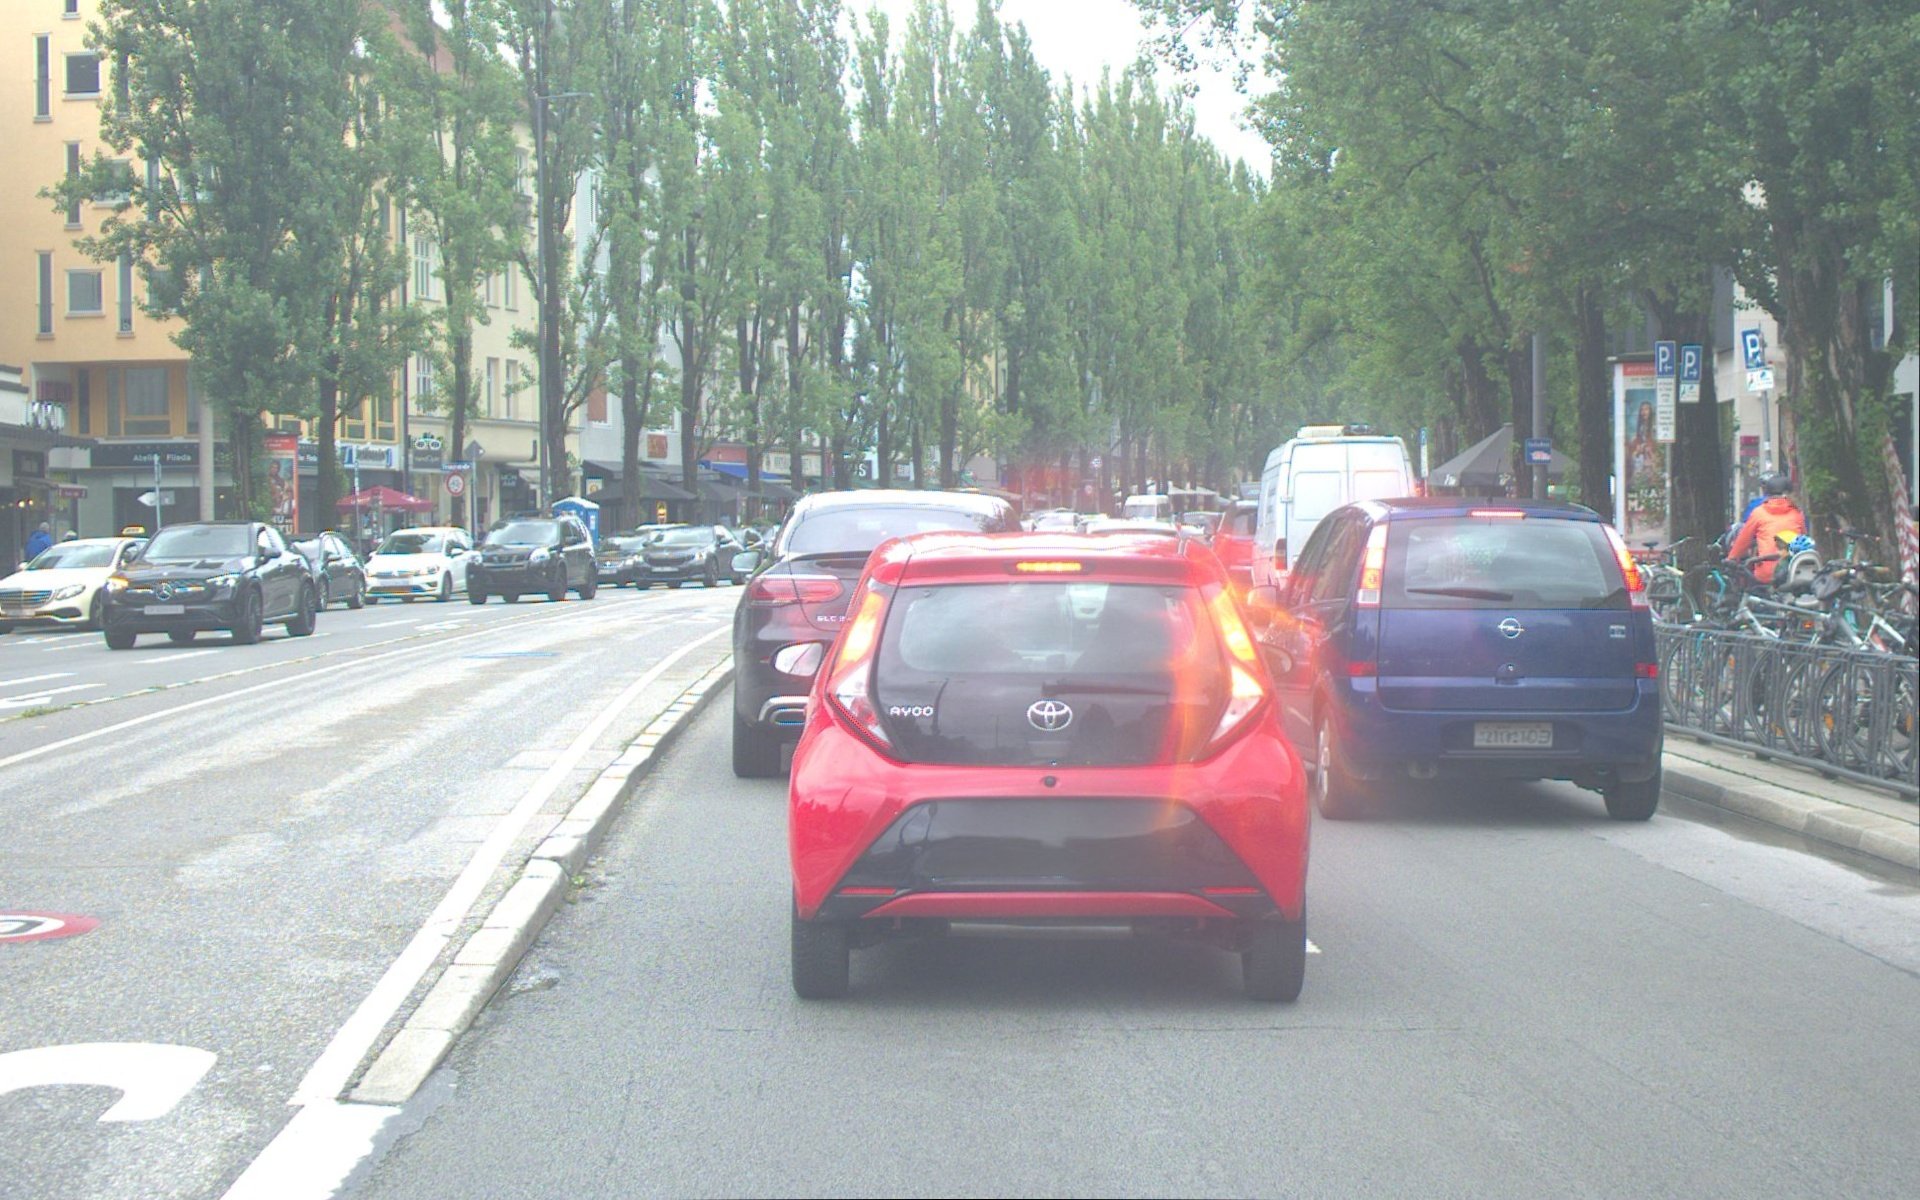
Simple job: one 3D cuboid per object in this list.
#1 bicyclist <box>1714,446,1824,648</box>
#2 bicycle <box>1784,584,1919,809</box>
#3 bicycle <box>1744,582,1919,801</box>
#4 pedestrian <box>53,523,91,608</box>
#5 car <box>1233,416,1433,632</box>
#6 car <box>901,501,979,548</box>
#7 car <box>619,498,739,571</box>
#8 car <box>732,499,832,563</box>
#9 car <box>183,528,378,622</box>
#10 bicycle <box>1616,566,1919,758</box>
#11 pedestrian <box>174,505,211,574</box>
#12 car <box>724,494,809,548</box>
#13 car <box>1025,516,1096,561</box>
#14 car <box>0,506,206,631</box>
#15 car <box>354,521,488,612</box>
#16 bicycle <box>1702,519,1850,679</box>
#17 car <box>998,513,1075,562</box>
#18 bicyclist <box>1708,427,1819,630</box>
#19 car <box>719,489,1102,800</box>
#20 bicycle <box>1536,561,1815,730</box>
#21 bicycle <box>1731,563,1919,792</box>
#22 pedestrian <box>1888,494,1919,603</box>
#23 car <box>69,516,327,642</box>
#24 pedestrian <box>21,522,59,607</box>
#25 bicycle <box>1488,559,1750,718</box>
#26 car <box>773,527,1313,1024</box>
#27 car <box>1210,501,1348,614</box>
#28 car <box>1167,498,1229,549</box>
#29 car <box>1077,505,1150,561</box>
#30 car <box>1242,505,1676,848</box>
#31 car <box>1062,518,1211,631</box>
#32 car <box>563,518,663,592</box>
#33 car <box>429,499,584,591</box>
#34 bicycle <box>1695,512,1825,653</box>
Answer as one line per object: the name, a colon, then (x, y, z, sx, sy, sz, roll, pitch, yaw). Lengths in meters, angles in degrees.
bicyclist: (6.777, -0.450, 28.845, 0.614, 1.652, 1.251, -1, 1, 0)
bicycle: (5.210, 0.496, 17.682, 1.836, 1.132, 0.585, 1, 2, 42)
bicycle: (5.177, 0.485, 18.443, 1.836, 1.132, 0.585, 1, 2, 42)
pedestrian: (-20.948, -0.814, 81.101, 0.687, 1.990, 0.765, 0, 1, -2)
car: (4.909, -1.024, 45.881, 2.107, 2.709, 4.804, -1, 1, 0)
car: (-0.726, -2.830, 128.011, 1.994, 1.686, 4.412, 0, 1, 12)
car: (-6.686, -1.579, 82.352, 1.994, 1.686, 4.920, 0, 2, 6)
car: (-4.902, -1.906, 95.264, 1.994, 1.686, 4.920, 1, 1, 6)
car: (-12.340, -0.484, 62.709, 1.994, 1.604, 4.531, -1, 2, 9)
bicycle: (5.052, 0.364, 21.367, 1.836, 1.132, 0.585, 1, 2, 35)
pedestrian: (-20.246, -1.606, 90.712, 0.688, 1.804, 0.765, 0, 1, 11)
car: (-6.258, -2.583, 111.926, 1.994, 1.686, 4.920, -1, 2, 6)
car: (3.906, -2.390, 132.559, 1.994, 1.686, 4.412, 0, 1, 12)
car: (-13.921, -0.535, 54.894, 1.994, 1.809, 4.531, -2, 2, 11)
car: (-11.299, -0.726, 72.284, 1.856, 1.809, 4.000, 2, 1, 5)
bicycle: (6.793, -0.038, 28.717, 0.614, 1.260, 2.520, -1, 2, 0)
car: (2.793, -2.282, 124.731, 1.994, 1.686, 4.412, 0, 1, 12)
bicyclist: (7.535, -0.674, 32.289, 0.762, 1.863, 1.133, -1, 1, 0)
car: (-0.309, 0.181, 19.997, 1.993, 1.612, 4.001, 0, 1, -2)
bicycle: (5.003, 0.302, 24.096, 1.836, 1.132, 0.585, 1, 2, 35)
bicycle: (5.255, 0.420, 19.109, 1.836, 1.237, 0.585, 1, 2, 42)
pedestrian: (13.794, -0.745, 49.408, 0.713, 1.553, 0.676, -1, 1, -1)
car: (-9.813, -0.319, 44.652, 1.994, 1.529, 4.587, 0, 2, 5)
pedestrian: (-21.695, -0.836, 81.081, 0.687, 1.990, 0.765, 0, 1, 0)
bicycle: (4.887, 0.267, 25.562, 1.836, 1.132, 0.585, 1, 2, 35)
car: (0.245, 0.492, 11.833, 1.605, 1.456, 3.130, 0, 1, 0)
car: (4.793, -0.660, 52.105, 1.703, 1.657, 3.556, 0, 1, -1)
car: (8.689, -2.795, 125.343, 1.994, 1.831, 3.999, 0, 2, 8)
car: (4.014, -1.761, 89.620, 1.773, 1.434, 3.938, 0, 2, 4)
car: (2.518, 0.316, 18.100, 1.703, 1.584, 3.556, -1, 2, -1)
car: (2.314, -0.367, 45.789, 1.699, 1.421, 3.497, 0, 1, -2)
car: (-8.947, -1.176, 88.971, 1.856, 1.809, 4.000, 2, 1, 5)
car: (-8.697, -1.087, 66.274, 1.994, 1.686, 4.921, 1, 1, 4)
bicycle: (7.508, -0.193, 32.349, 0.614, 1.260, 2.520, -1, 2, 0)
